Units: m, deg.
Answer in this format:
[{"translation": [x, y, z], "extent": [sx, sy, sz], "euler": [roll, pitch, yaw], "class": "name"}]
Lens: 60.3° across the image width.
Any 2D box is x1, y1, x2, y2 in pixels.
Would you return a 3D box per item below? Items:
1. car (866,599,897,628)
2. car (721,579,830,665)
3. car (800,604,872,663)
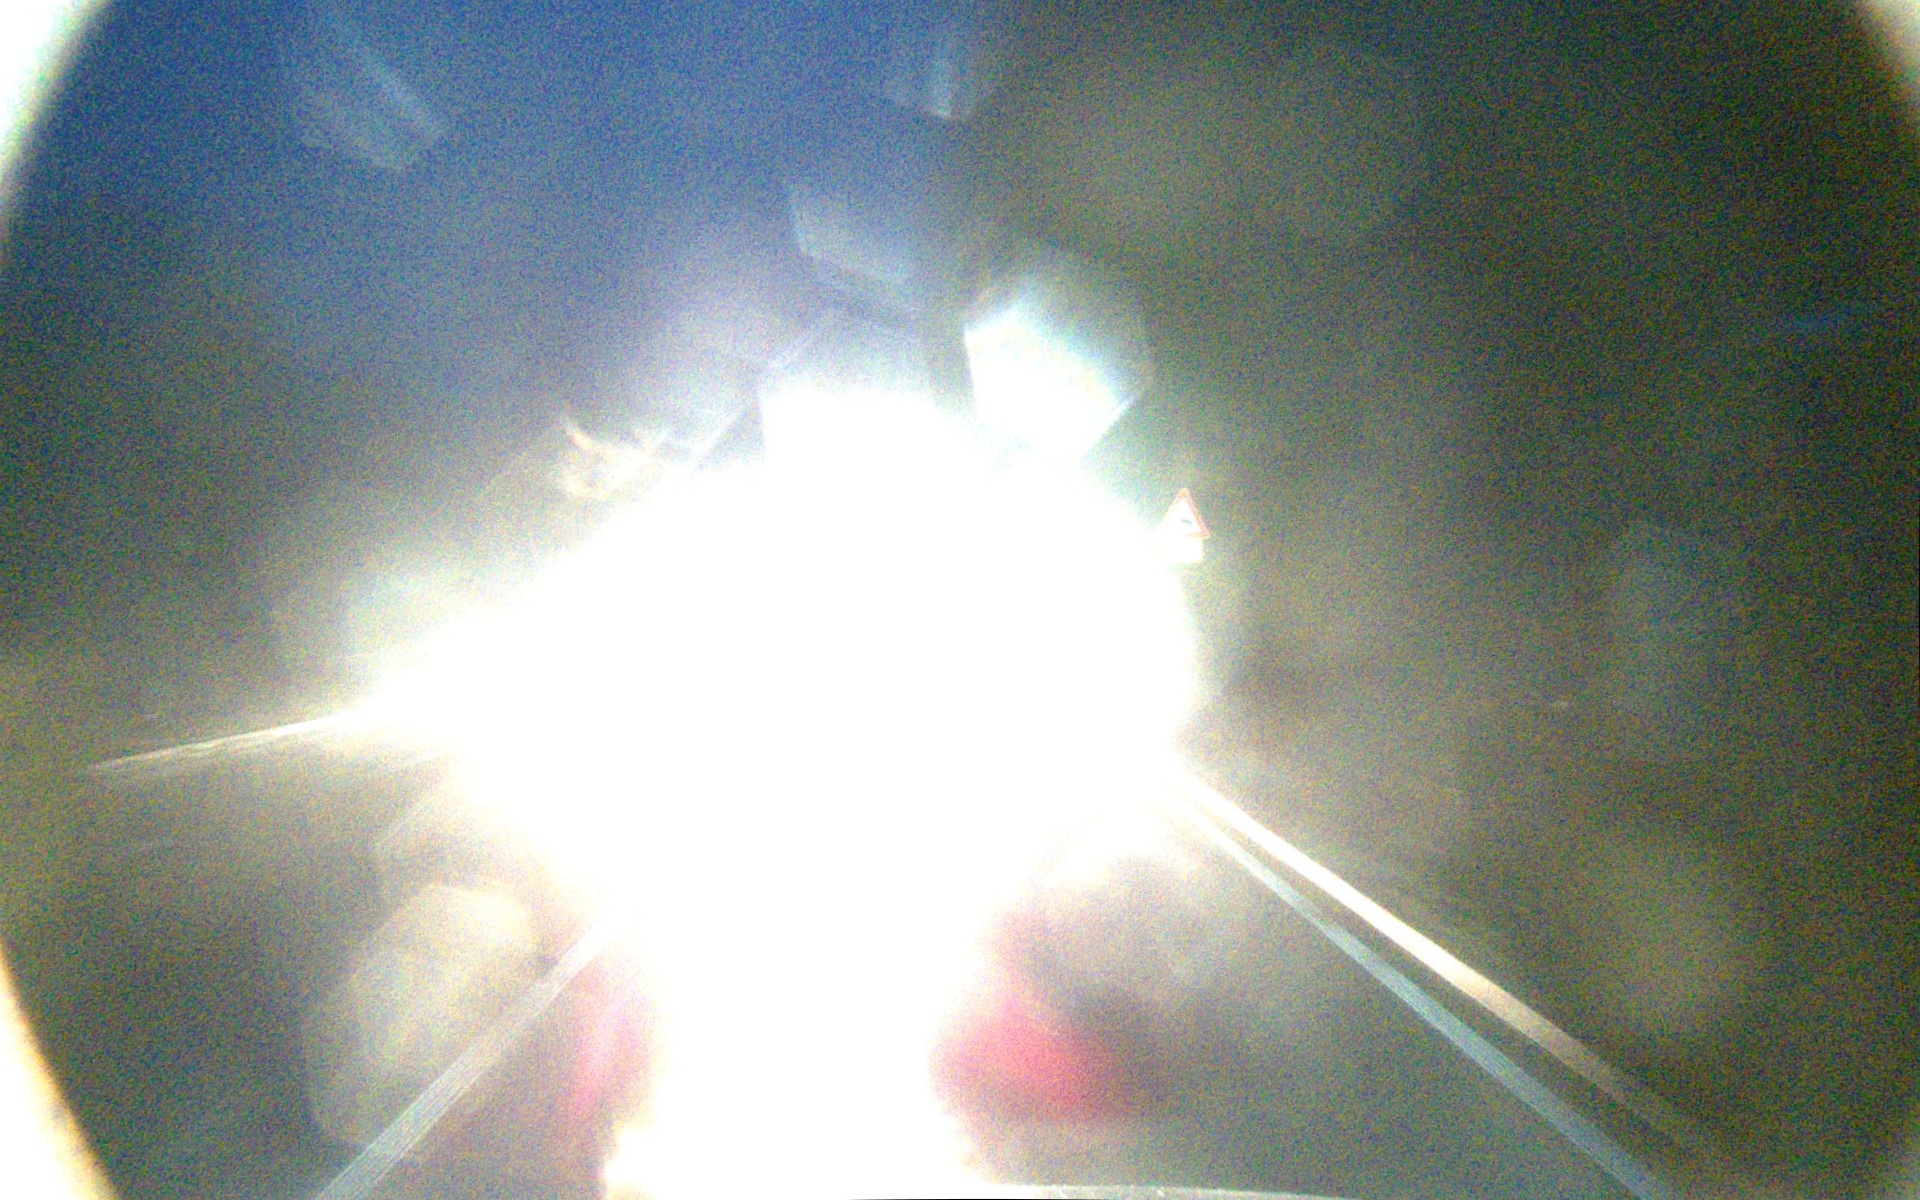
[{"translation": [-4.371, 0.742, 92.486], "extent": [1.666, 1.493, 4.040], "euler": [-1, 0, -2], "class": "car"}, {"translation": [-3.829, 0.421, 34.907], "extent": [1.850, 1.700, 4.000], "euler": [-1, 0, -1], "class": "car"}, {"translation": [-3.666, 0.972, 49.361], "extent": [1.850, 1.614, 4.000], "euler": [-1, 0, -1], "class": "car"}]
